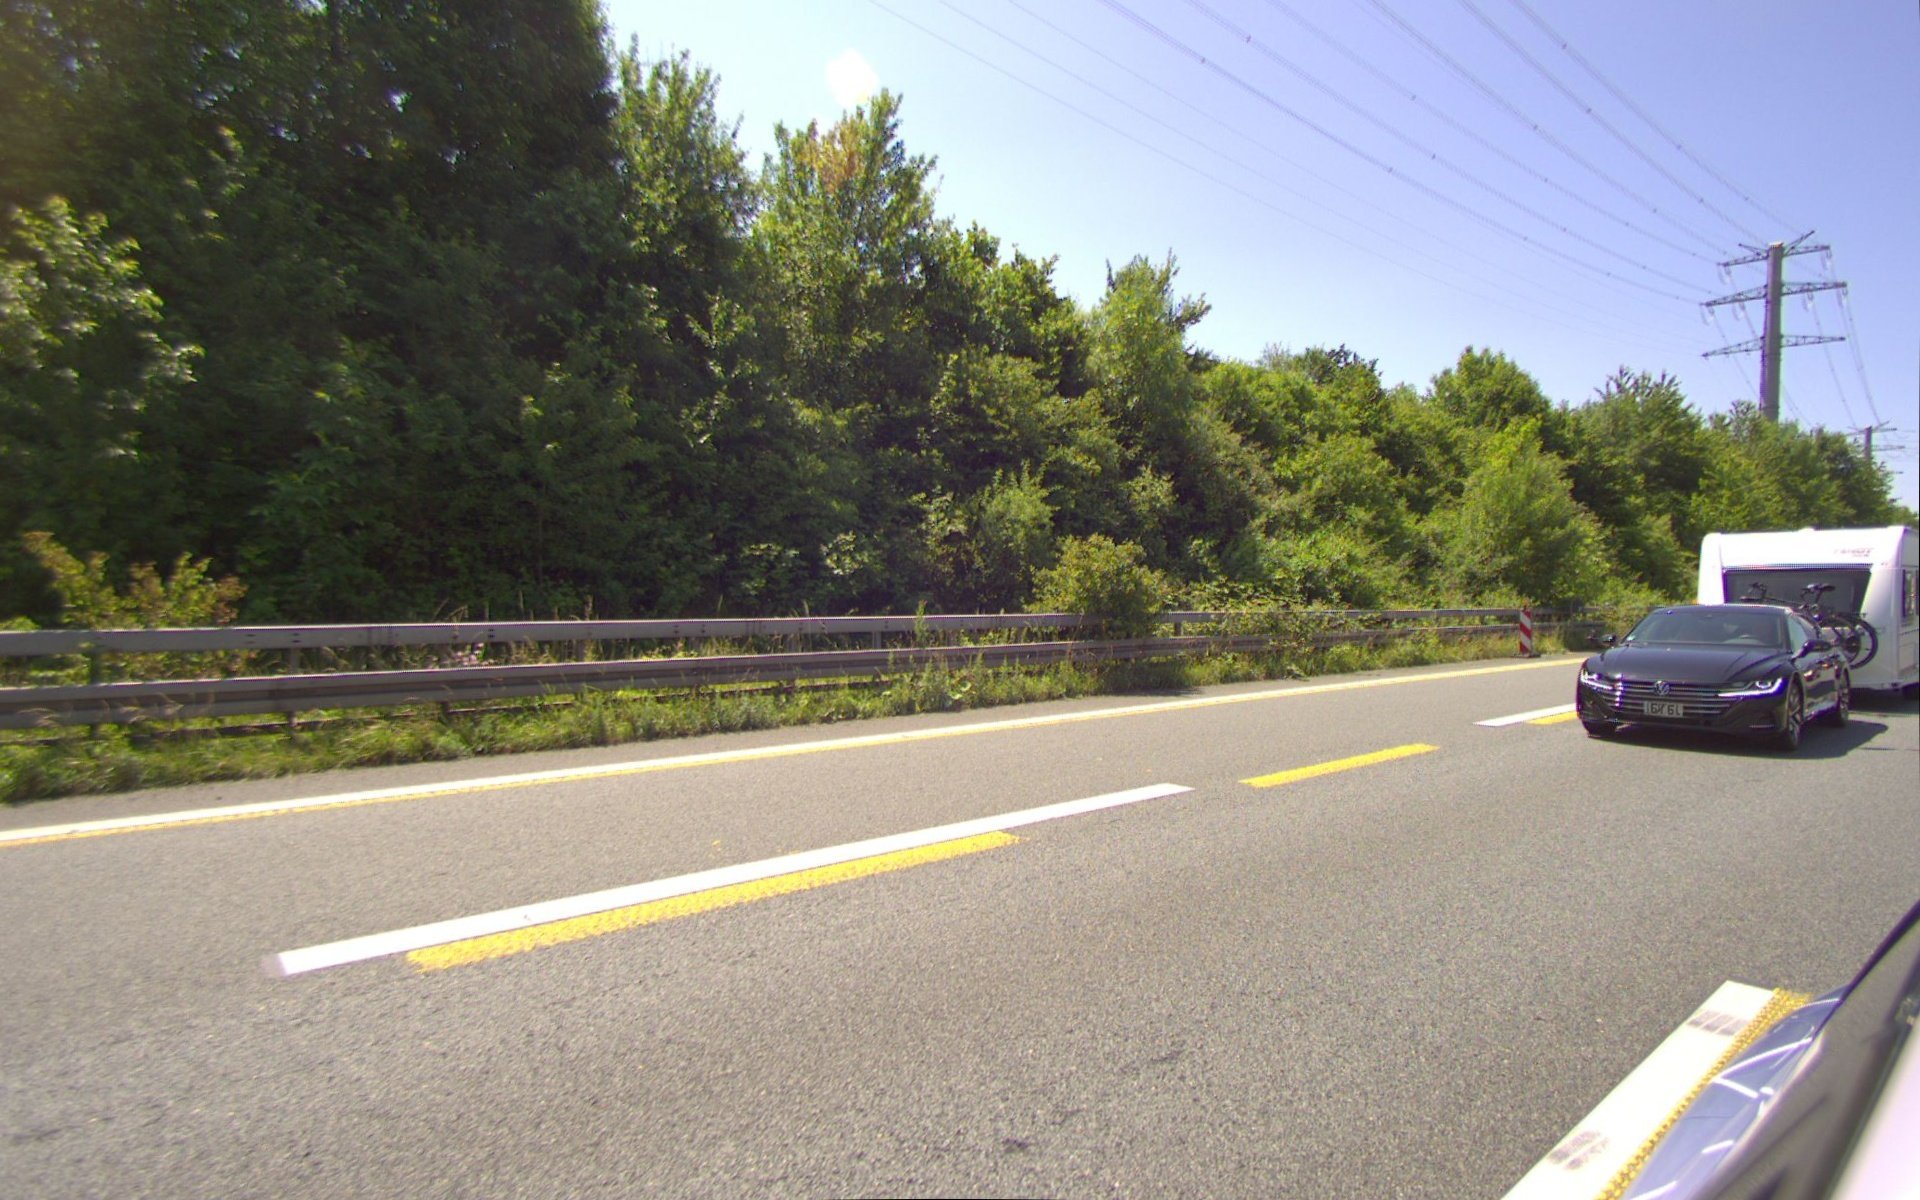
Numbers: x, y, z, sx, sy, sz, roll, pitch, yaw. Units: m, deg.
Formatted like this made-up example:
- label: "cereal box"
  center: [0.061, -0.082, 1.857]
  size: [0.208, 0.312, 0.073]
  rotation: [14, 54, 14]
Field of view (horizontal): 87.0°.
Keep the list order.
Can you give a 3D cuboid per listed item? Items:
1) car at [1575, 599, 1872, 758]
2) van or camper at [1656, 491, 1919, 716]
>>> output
- label: "car"
  center: [8.559, 0.707, 11.211]
  size: [4.136, 1.425, 1.799]
  rotation: [0, 0, -41]
- label: "van or camper"
  center: [13.239, 0.019, 15.334]
  size: [8.270, 2.597, 2.430]
  rotation: [0, 0, -41]
